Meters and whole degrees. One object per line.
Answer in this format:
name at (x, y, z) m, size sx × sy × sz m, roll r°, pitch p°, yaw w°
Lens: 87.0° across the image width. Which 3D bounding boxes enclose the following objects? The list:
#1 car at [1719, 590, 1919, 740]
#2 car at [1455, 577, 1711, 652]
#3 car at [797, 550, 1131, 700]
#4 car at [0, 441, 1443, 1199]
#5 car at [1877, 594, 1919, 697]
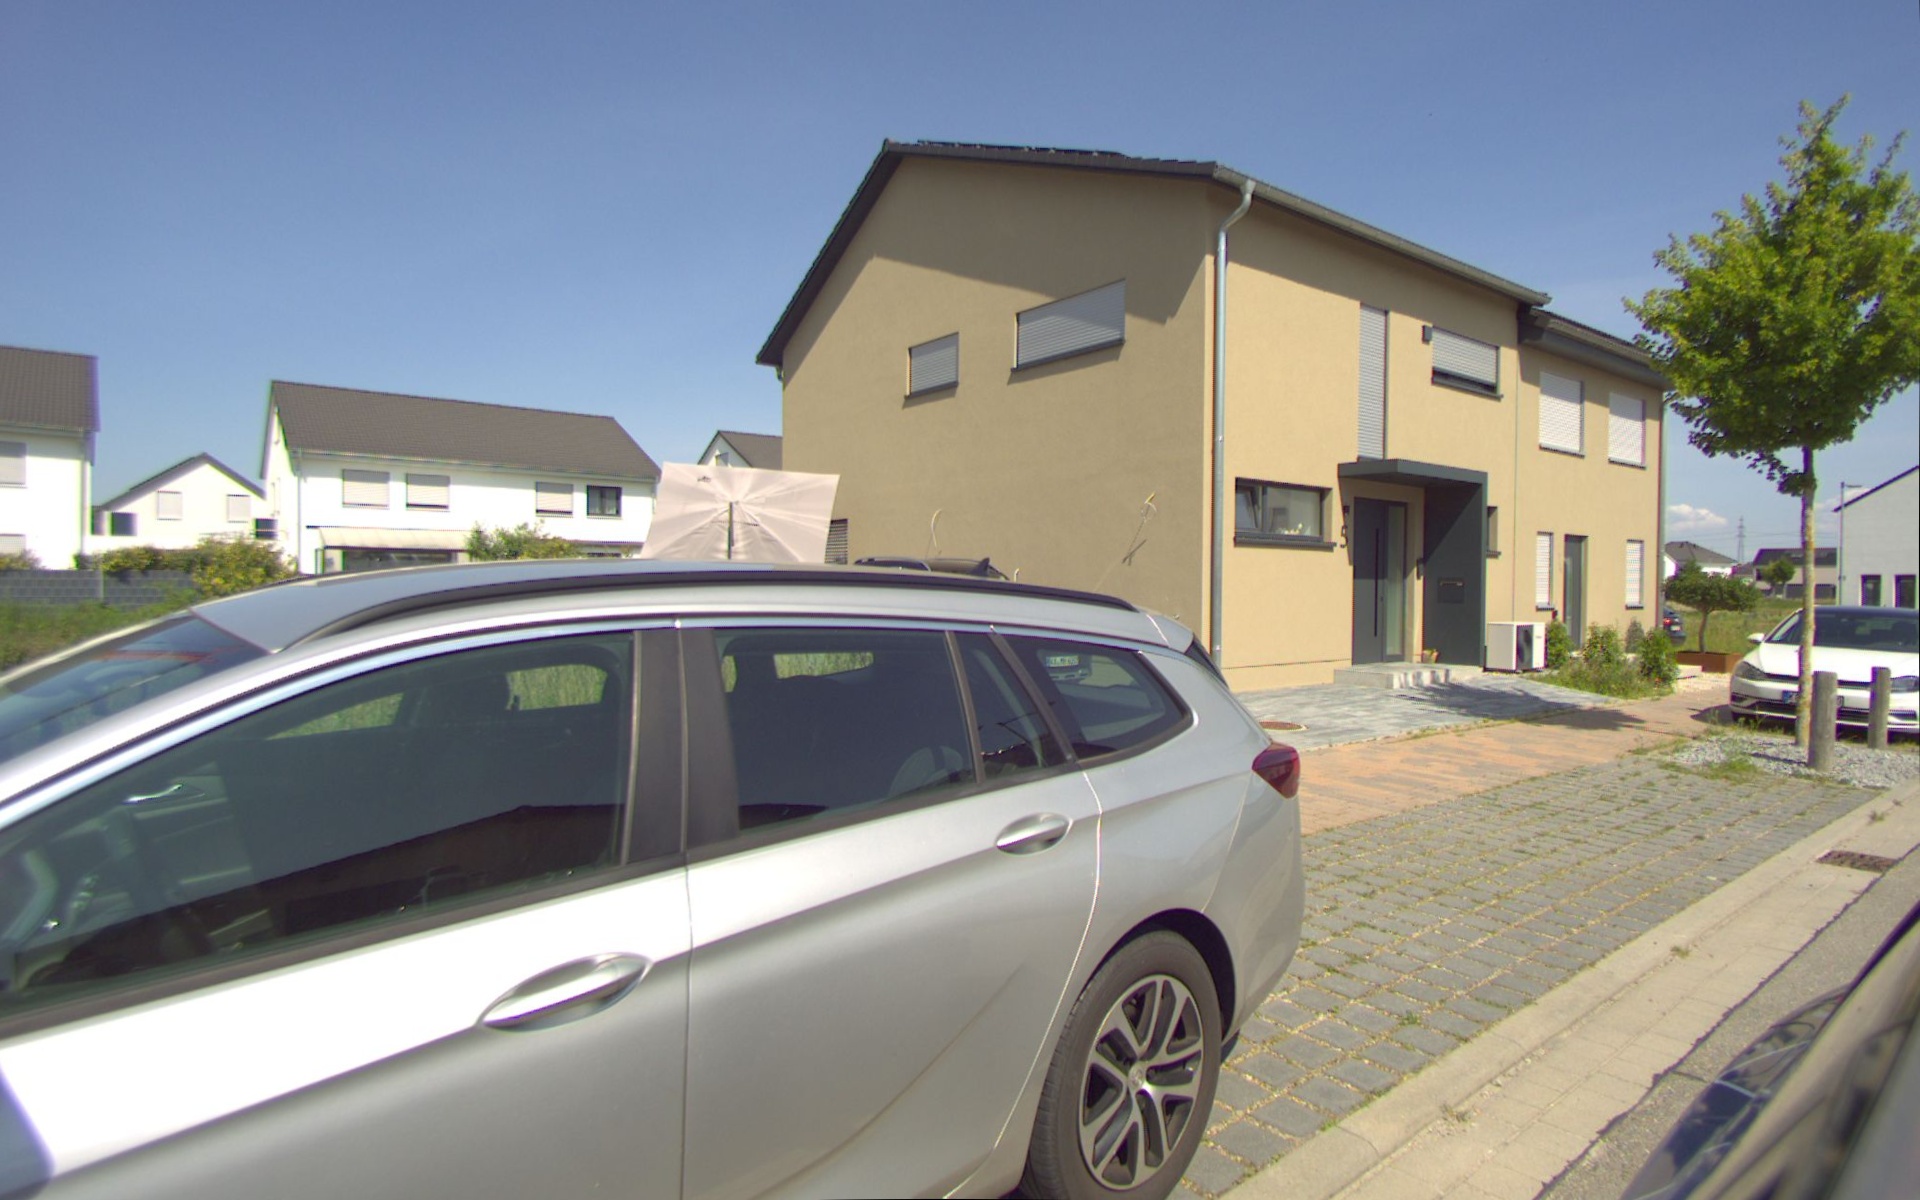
car at (10.952, 0.667, 12.175) m, size 4.431 × 1.443 × 1.785 m, roll 1°, pitch 2°, yaw -38°
car at (15.012, 0.269, 24.681) m, size 1.962 × 1.443 × 4.907 m, roll 0°, pitch 3°, yaw -34°
car at (-0.152, 0.173, 13.645) m, size 1.964 × 1.664 × 4.757 m, roll -1°, pitch 3°, yaw -39°
car at (-1.122, 0.571, 2.125) m, size 5.202 × 1.530 × 1.922 m, roll 1°, pitch 2°, yaw -41°
car at (16.058, 0.690, 15.713) m, size 4.479 × 1.474 × 1.820 m, roll 0°, pitch 2°, yaw -37°
